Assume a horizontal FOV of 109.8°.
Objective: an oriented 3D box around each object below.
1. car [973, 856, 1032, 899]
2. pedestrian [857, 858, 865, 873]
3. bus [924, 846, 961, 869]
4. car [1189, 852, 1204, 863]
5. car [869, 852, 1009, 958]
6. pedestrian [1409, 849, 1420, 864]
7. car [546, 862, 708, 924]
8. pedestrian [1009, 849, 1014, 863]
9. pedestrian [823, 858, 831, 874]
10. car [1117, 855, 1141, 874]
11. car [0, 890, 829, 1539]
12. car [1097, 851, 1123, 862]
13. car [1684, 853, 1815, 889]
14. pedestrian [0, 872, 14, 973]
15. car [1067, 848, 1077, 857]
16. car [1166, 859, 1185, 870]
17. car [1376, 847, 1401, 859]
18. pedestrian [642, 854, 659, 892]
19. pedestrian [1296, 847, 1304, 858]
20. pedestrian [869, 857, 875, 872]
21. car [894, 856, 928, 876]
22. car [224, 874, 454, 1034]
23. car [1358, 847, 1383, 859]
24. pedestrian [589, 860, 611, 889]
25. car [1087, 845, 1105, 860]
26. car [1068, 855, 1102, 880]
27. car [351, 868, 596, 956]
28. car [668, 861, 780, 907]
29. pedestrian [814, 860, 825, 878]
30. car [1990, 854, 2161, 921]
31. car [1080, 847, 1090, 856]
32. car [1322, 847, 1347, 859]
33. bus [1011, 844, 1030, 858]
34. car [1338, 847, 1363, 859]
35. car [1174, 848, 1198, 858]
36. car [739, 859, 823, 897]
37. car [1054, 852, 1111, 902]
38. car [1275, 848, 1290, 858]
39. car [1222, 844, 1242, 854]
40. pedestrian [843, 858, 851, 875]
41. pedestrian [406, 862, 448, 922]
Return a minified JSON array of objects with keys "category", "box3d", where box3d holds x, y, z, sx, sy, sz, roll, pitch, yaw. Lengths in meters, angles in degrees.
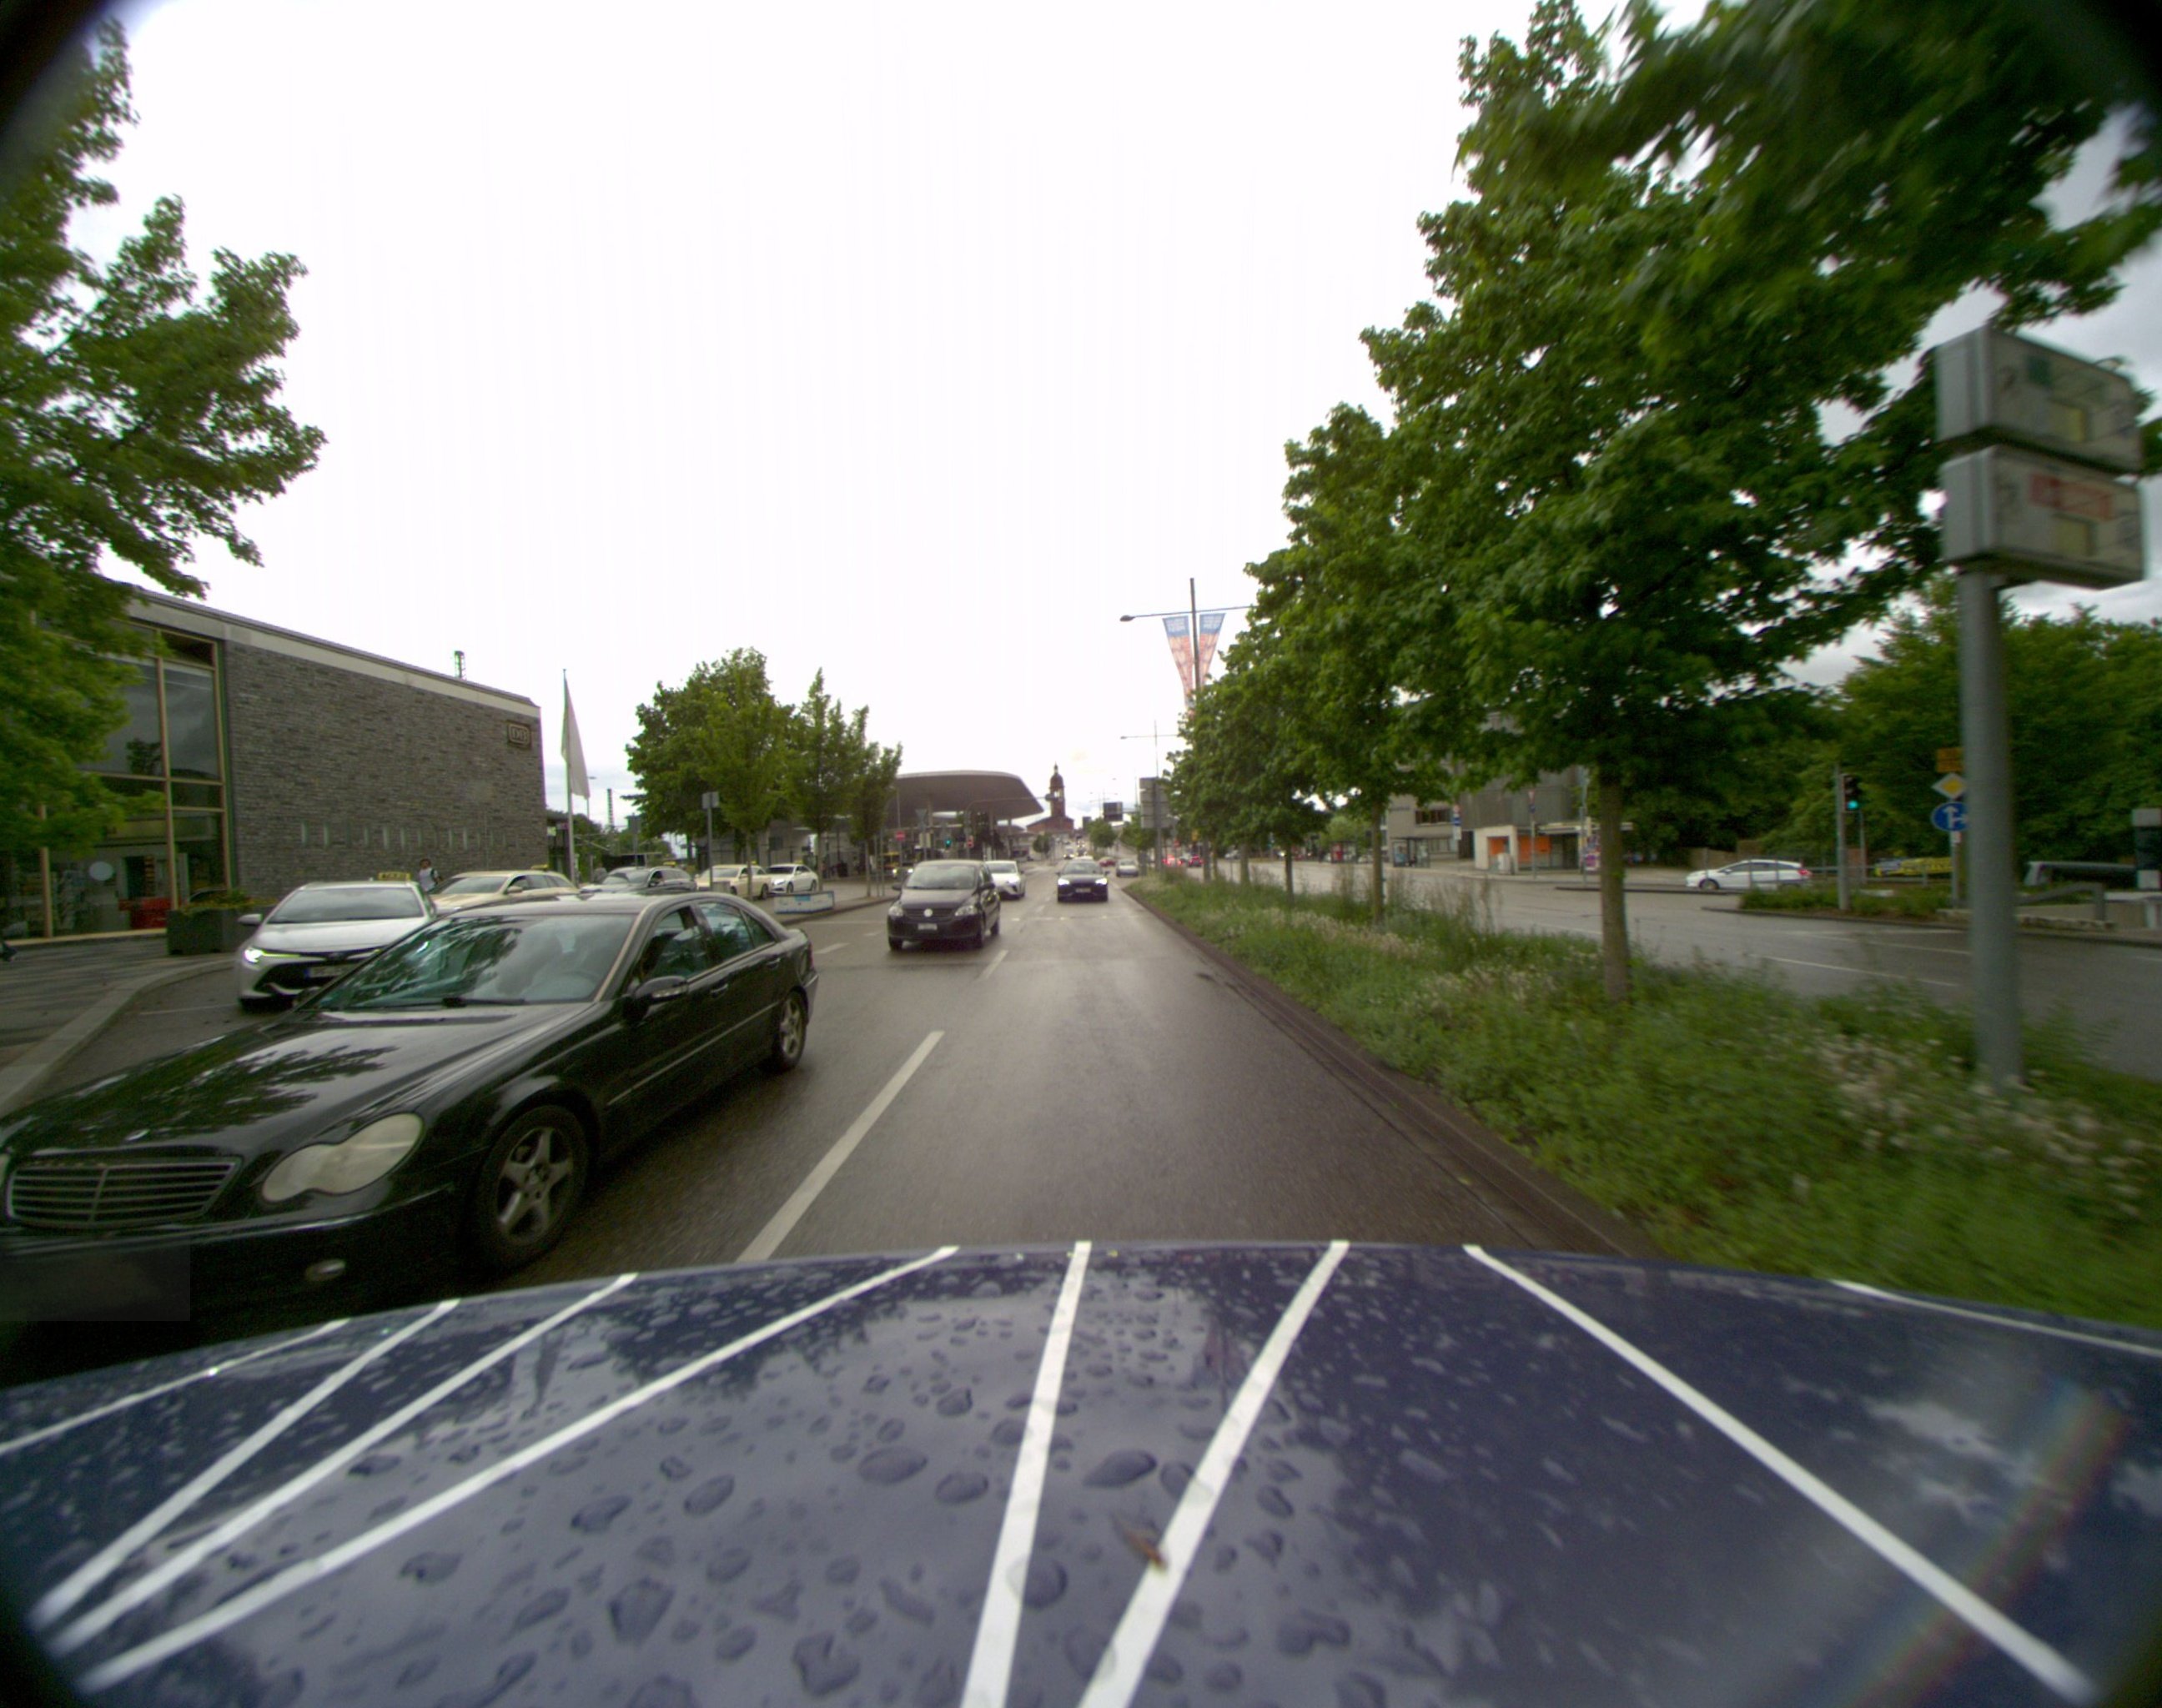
[{"category":"car","box3d":[-2.993,0.866,29.863,1.811,1.550,4.049,0,1,1]},{"category":"pedestrian","box3d":[-21.496,1.102,74.224,0.478,1.505,0.535,-1,1,4]},{"category":"bus","box3d":[-19.186,0.526,106.187,2.876,3.064,11.923,0,-1,1]},{"category":"car","box3d":[15.905,0.454,104.409,1.698,1.457,4.452,0,1,4]},{"category":"car","box3d":[-2.485,0.825,14.349,1.876,1.692,4.157,0,1,0]},{"category":"pedestrian","box3d":[28.853,0.228,65.755,0.668,1.292,0.720,0,1,6]},{"category":"car","box3d":[-13.803,1.105,23.546,1.999,1.590,4.957,-2,0,0]},{"category":"pedestrian","box3d":[-9.056,0.258,99.580,0.446,1.753,0.536,-2,1,-23]},{"category":"pedestrian","box3d":[-23.548,1.094,70.479,0.533,1.505,0.480,0,1,35]},{"category":"car","box3d":[3.904,0.847,62.809,1.699,1.457,3.719,0,1,-1]},{"category":"car","box3d":[-2.982,1.061,4.218,1.699,1.457,4.451,0,1,-1]},{"category":"car","box3d":[4.492,0.306,116.542,1.871,1.624,4.166,0,1,40]},{"category":"car","box3d":[27.851,0.724,31.738,1.638,1.390,3.989,-1,-1,-45]},{"category":"pedestrian","box3d":[-17.912,1.117,12.199,0.724,1.617,0.795,-1,2,-43]},{"category":"car","box3d":[-1.814,-0.331,159.061,1.999,2.002,3.998,0,1,-2]},{"category":"car","box3d":[12.047,1.290,96.863,2.010,1.345,4.164,0,1,1]},{"category":"car","box3d":[44.272,-0.102,109.424,4.166,1.692,1.871,-1,1,-44]},{"category":"pedestrian","box3d":[-24.670,1.072,43.529,0.799,2.152,0.721,-1,1,-30]},{"category":"pedestrian","box3d":[30.156,-0.235,104.680,0.983,1.481,0.735,0,1,11]},{"category":"pedestrian","box3d":[-21.497,1.059,78.168,0.478,1.505,0.535,-1,1,4]},{"category":"car","box3d":[-15.102,1.056,67.674,1.998,1.671,4.541,0,1,1]},{"category":"car","box3d":[-9.909,1.136,10.527,1.767,1.537,4.763,-2,1,-39]},{"category":"car","box3d":[42.277,-0.125,111.011,4.166,1.692,1.871,-1,1,-44]},{"category":"pedestrian","box3d":[-26.333,1.097,41.612,0.771,1.571,0.710,0,1,-5]},{"category":"car","box3d":[1.681,-0.225,86.090,1.876,1.624,4.156,0,1,-2]},{"category":"car","box3d":[0.249,0.923,53.414,1.877,1.624,4.298,0,1,-7]},{"category":"car","box3d":[-13.318,1.167,17.179,2.000,1.590,4.955,0,0,-7]},{"category":"car","box3d":[-13.868,1.096,29.912,1.998,1.590,4.958,0,0,1]},{"category":"pedestrian","box3d":[-23.462,1.351,68.206,0.641,1.586,0.741,0,1,15]},{"category":"car","box3d":[28.595,0.907,21.165,3.988,1.749,1.638,-1,0,41]},{"category":"car","box3d":[0.855,-0.563,164.855,1.999,2.002,3.998,0,1,-5]},{"category":"car","box3d":[38.432,-0.138,115.025,4.166,1.692,1.871,-1,1,-44]},{"category":"bus","box3d":[-14.213,-0.765,177.437,3.585,3.080,10.746,-1,0,-8]},{"category":"car","box3d":[40.122,-0.125,113.172,4.166,1.692,1.871,-1,1,-44]},{"category":"car","box3d":[17.659,-0.163,127.672,1.889,1.704,4.226,1,1,42]},{"category":"car","box3d":[-13.863,1.059,35.459,1.884,1.590,4.902,0,1,1]},{"category":"car","box3d":[-0.029,0.789,27.728,1.876,1.692,4.157,0,0,-2]},{"category":"car","box3d":[41.238,-0.256,155.295,1.994,2.002,4.008,0,1,31]},{"category":"car","box3d":[28.102,-0.924,141.405,1.994,1.871,4.008,0,1,39]},{"category":"pedestrian","box3d":[-21.230,1.131,69.035,0.534,1.505,0.479,-1,1,5]},{"category":"pedestrian","box3d":[-18.912,1.084,21.980,0.647,1.657,0.776,-1,1,-21]}]
